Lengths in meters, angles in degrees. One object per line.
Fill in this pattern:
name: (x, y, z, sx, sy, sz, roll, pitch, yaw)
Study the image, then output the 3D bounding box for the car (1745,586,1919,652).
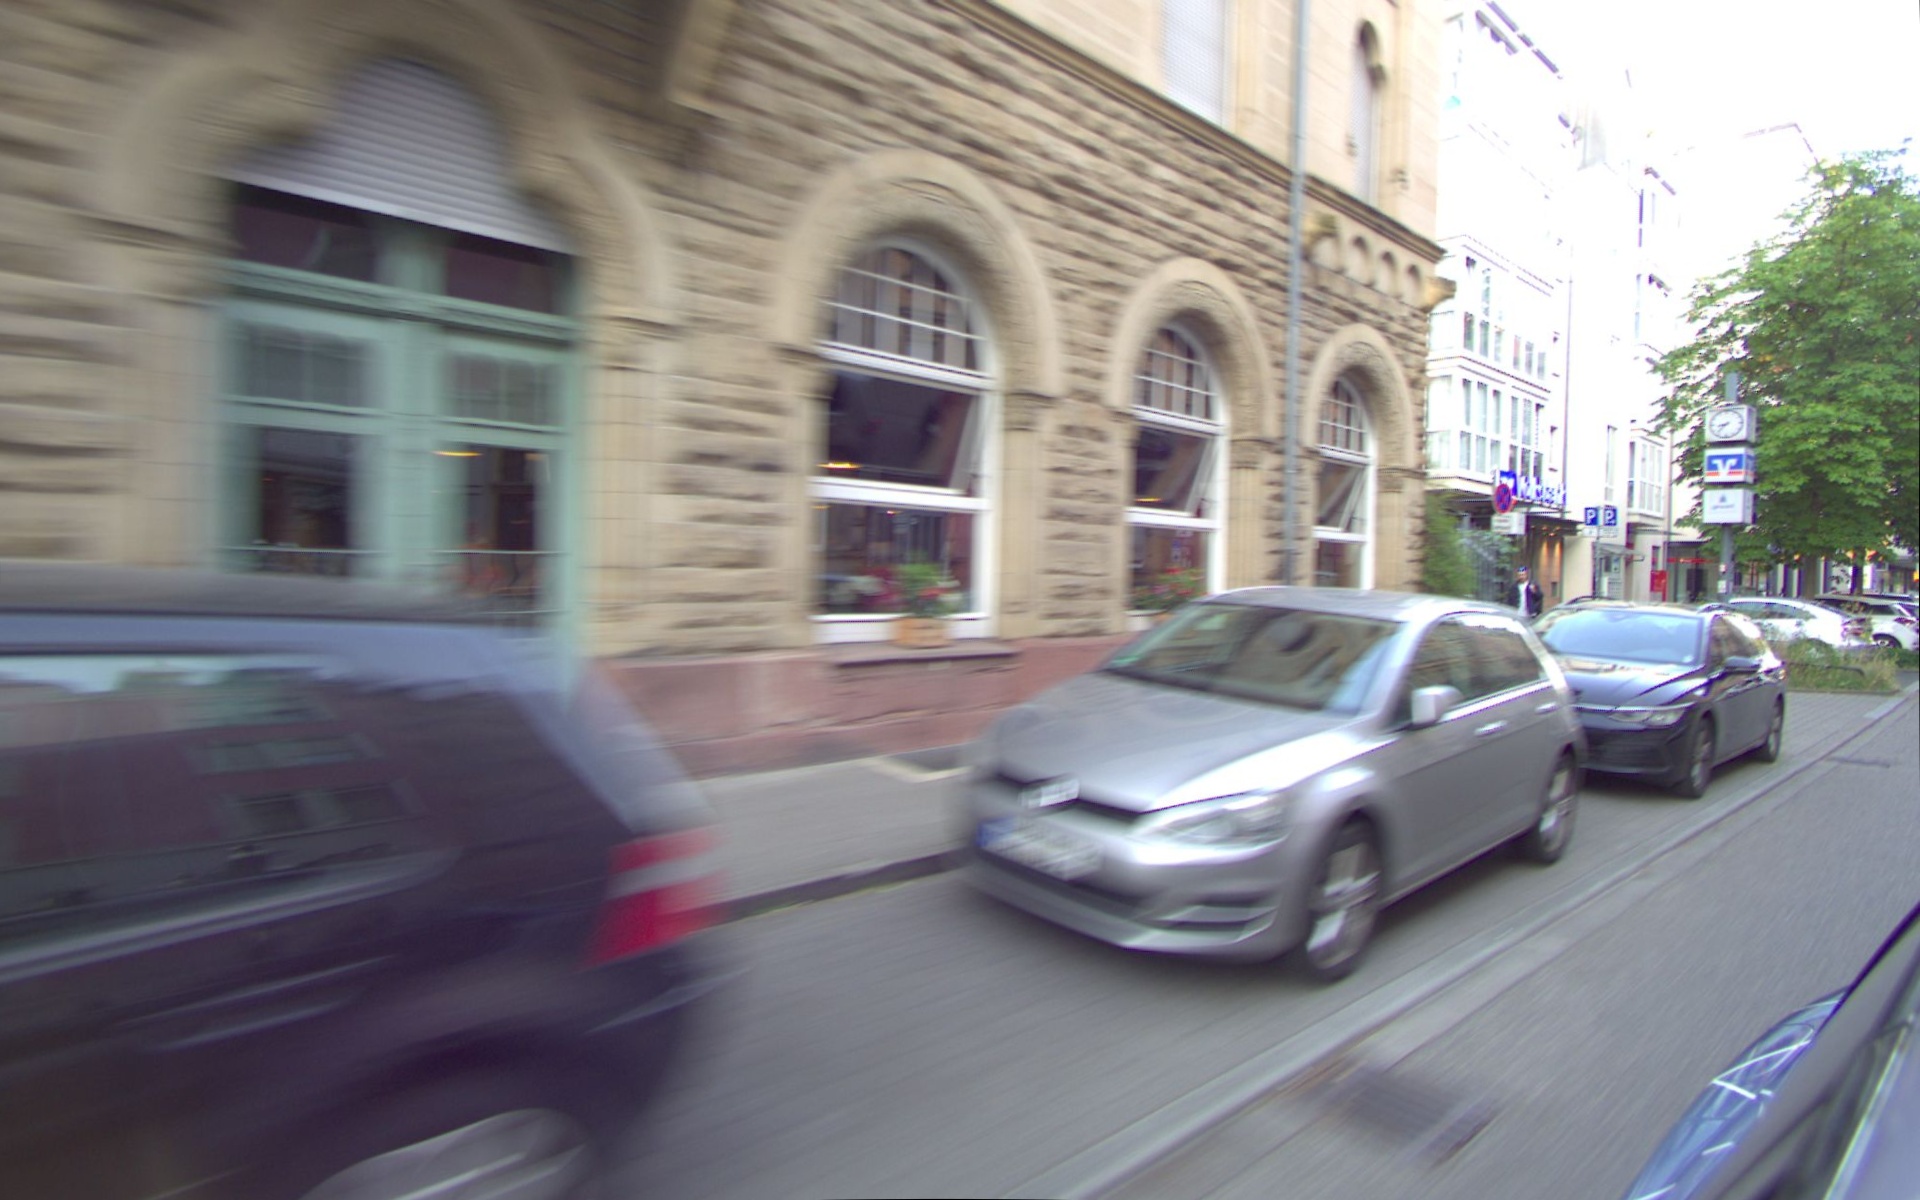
car: (23.434, 0.453, 26.506, 1.792, 1.547, 4.297, 0, 2, -42)

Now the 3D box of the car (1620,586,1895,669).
car: (16.703, 0.496, 21.371, 1.792, 1.470, 4.297, 0, 2, -42)

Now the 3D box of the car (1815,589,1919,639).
car: (31.117, 0.460, 33.345, 1.792, 1.547, 4.297, 0, 2, -42)

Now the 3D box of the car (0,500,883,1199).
car: (-2.405, 0.575, 1.354, 1.765, 1.502, 4.483, 6, 5, 45)

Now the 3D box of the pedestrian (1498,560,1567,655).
pedestrian: (11.255, 0.128, 19.906, 0.818, 1.788, 0.852, 1, 2, -38)

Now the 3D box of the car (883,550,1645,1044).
car: (1.918, 0.591, 5.334, 4.479, 1.502, 1.766, 0, 3, -43)

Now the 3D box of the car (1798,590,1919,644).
car: (29.360, 0.521, 31.905, 1.792, 1.555, 4.297, 0, 2, -42)

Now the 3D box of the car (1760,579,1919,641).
car: (26.967, 0.280, 30.442, 1.792, 1.697, 4.297, 0, 2, -42)

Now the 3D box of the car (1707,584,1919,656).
car: (21.445, 0.442, 25.206, 1.792, 1.547, 4.297, 0, 2, -42)

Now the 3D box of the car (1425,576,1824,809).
car: (6.040, 0.615, 8.963, 4.477, 1.502, 1.767, 0, 3, -41)

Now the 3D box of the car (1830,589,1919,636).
car: (32.981, 0.441, 34.905, 1.792, 1.547, 4.297, 0, 2, -42)
